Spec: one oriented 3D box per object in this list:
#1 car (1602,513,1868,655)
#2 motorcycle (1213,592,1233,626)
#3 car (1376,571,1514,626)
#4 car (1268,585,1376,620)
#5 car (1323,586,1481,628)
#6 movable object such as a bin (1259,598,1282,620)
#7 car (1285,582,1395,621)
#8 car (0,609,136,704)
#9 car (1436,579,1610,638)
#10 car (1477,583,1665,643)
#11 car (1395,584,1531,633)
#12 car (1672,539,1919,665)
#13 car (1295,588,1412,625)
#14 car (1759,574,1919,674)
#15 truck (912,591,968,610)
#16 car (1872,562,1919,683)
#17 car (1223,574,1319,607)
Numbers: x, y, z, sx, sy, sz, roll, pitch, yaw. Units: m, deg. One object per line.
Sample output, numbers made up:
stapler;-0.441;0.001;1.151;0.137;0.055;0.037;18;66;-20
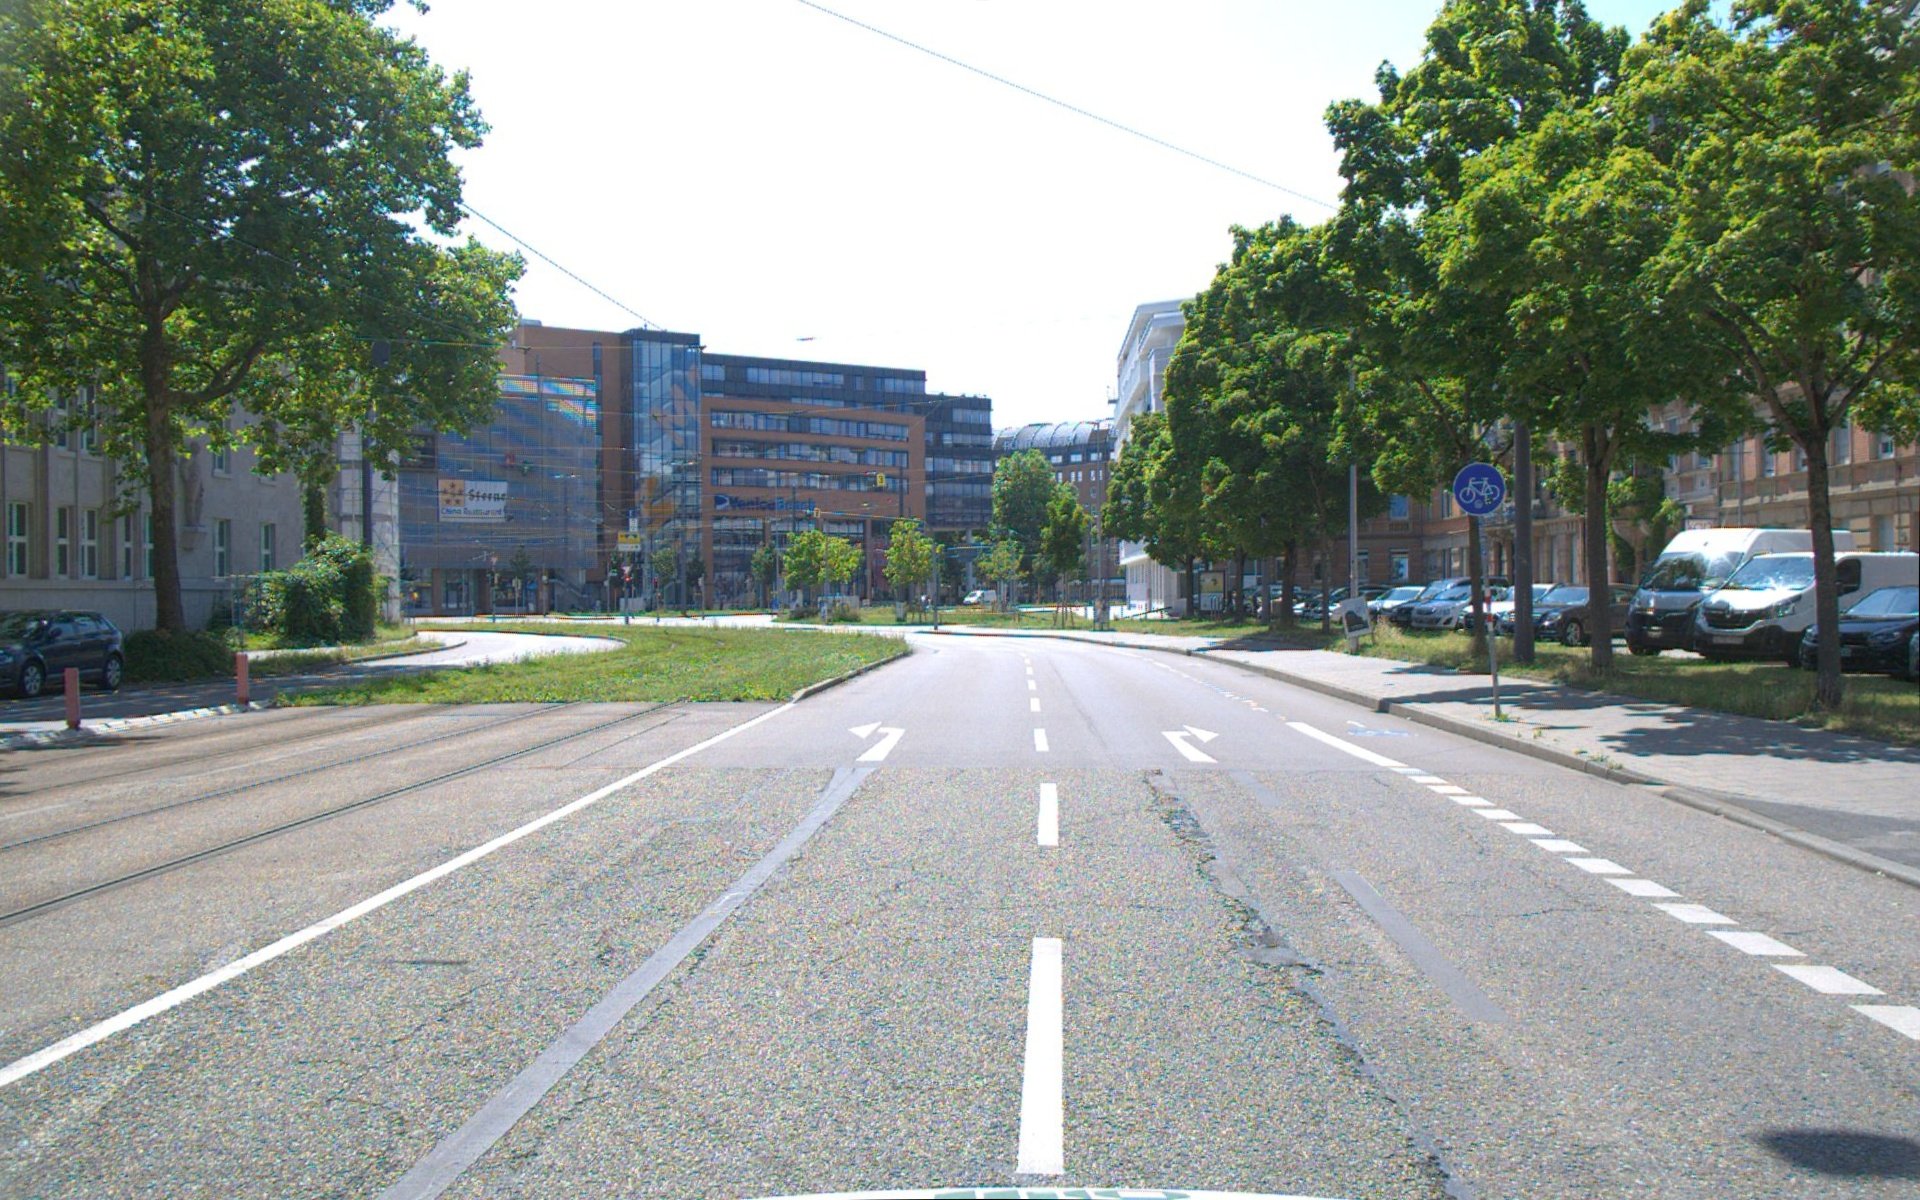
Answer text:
car;14.908;-0.285;31.691;5.487;2.503;2.211;0;0;-35
motorcycle;11.613;0.395;73.131;0.661;1.438;1.857;-2;0;3
car;15.420;-0.053;52.625;3.935;1.691;1.957;0;0;-24
car;14.897;0.095;68.022;4.277;1.400;1.571;0;0;-24
car;14.627;0.221;54.781;4.702;1.336;2.137;0;0;-20
movable object such as a bin;13.845;0.397;73.639;0.965;0.953;0.702;0;0;13
car;15.034;0.063;65.425;4.028;1.495;1.783;0;0;-26
car;-15.842;0.902;28.148;1.556;1.448;4.322;0;0;-2
car;14.675;0.208;43.040;4.638;1.452;1.948;0;0;-35
car;14.632;0.291;39.571;4.371;1.362;1.952;0;0;-31
car;15.071;0.253;49.502;3.946;1.424;1.695;0;0;-31
car;14.658;0.034;28.261;4.775;2.007;2.058;0;0;-27
car;14.843;0.238;62.425;3.928;1.336;1.961;0;0;-20
car;14.232;0.339;24.820;3.927;1.411;1.814;0;0;-19
truck;-3.094;0.089;254.859;9.049;2.858;1.994;1;0;34
car;14.345;0.300;21.520;4.554;1.523;1.952;0;0;-22
car;16.330;-0.490;86.793;4.797;1.629;1.821;0;0;-26
